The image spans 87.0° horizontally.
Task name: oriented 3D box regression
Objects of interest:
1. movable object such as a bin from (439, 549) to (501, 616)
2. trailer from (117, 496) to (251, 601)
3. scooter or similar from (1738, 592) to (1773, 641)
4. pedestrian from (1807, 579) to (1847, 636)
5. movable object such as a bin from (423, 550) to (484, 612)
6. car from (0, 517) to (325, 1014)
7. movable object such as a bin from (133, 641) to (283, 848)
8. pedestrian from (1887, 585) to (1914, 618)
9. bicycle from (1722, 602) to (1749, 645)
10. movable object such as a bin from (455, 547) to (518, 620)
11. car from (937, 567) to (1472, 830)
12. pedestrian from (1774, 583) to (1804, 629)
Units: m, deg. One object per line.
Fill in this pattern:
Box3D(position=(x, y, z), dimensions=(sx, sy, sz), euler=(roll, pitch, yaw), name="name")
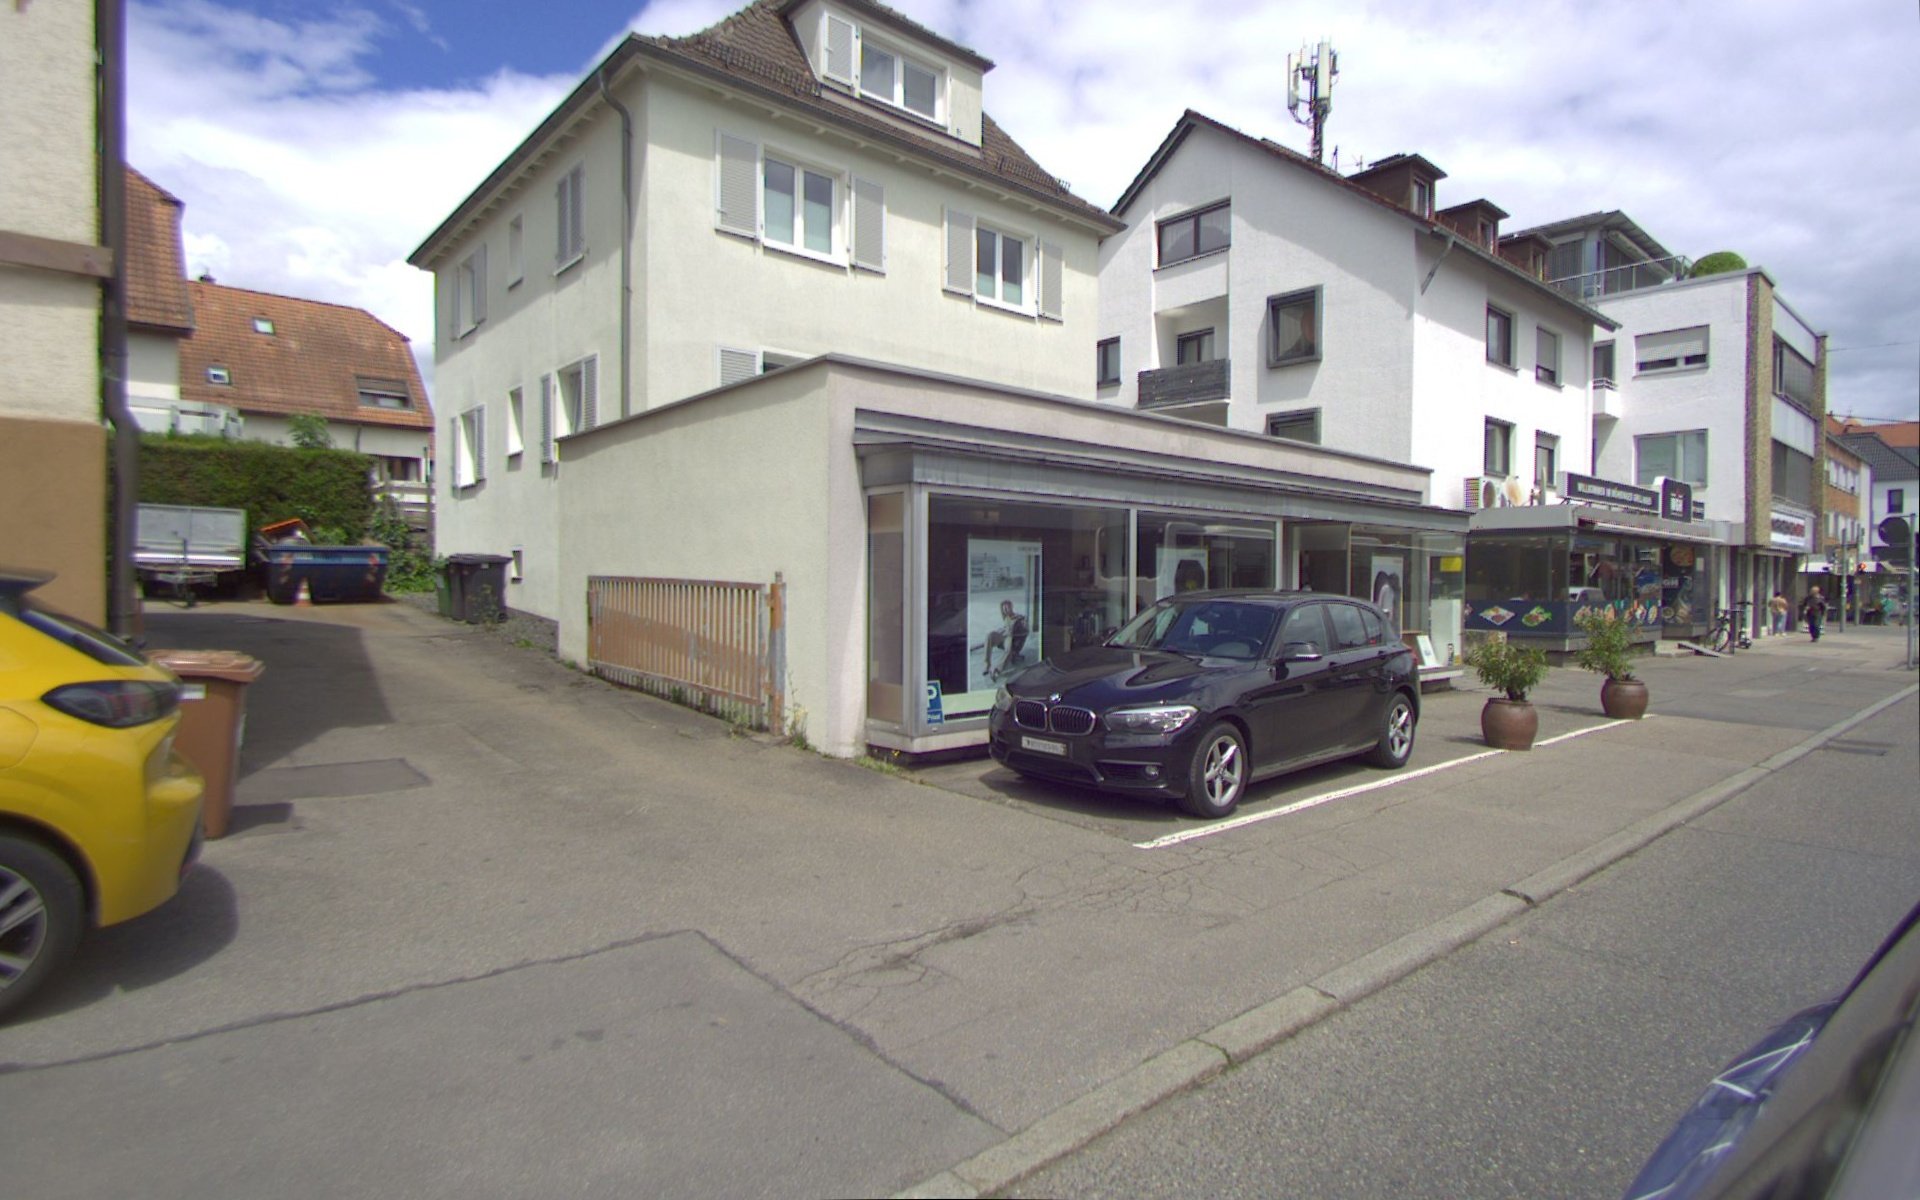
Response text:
Box3D(position=(-7.903, -0.289, 16.316), dimensions=(0.751, 1.031, 0.609), euler=(-1, 4, -42), name="movable object such as a bin")
Box3D(position=(-13.044, -0.894, 17.179), dimensions=(1.612, 1.556, 3.550), euler=(1, 3, -35), name="trailer")
Box3D(position=(21.916, 0.446, 27.882), dimensions=(0.686, 1.283, 1.170), euler=(2, 2, 36), name="scooter or similar")
Box3D(position=(26.648, 0.219, 31.117), dimensions=(0.793, 1.691, 0.796), euler=(0, 2, -42), name="pedestrian")
Box3D(position=(-8.372, -0.314, 16.728), dimensions=(0.751, 0.982, 0.609), euler=(-1, 4, -42), name="movable object such as a bin")
Box3D(position=(-4.414, 0.412, 2.753), dimensions=(4.234, 1.466, 1.879), euler=(3, 0, -43), name="car")
Box3D(position=(-3.828, 0.699, 5.168), dimensions=(0.587, 0.936, 0.502), euler=(0, 1, -37), name="movable object such as a bin")
Box3D(position=(43.906, 0.062, 47.246), dimensions=(0.804, 1.544, 0.779), euler=(0, 1, -39), name="pedestrian")
Box3D(position=(19.967, 0.588, 26.054), dimensions=(0.474, 1.041, 1.613), euler=(2, 2, 39), name="bicycle")
Box3D(position=(-7.440, -0.262, 15.903), dimensions=(0.751, 1.096, 0.609), euler=(-1, 4, -42), name="movable object such as a bin")
Box3D(position=(2.134, 0.523, 7.957), dimensions=(4.459, 1.465, 1.970), euler=(0, 2, -43), name="car")
Box3D(position=(28.198, 0.192, 34.426), dimensions=(0.707, 1.517, 0.680), euler=(0, 1, -41), name="pedestrian")
